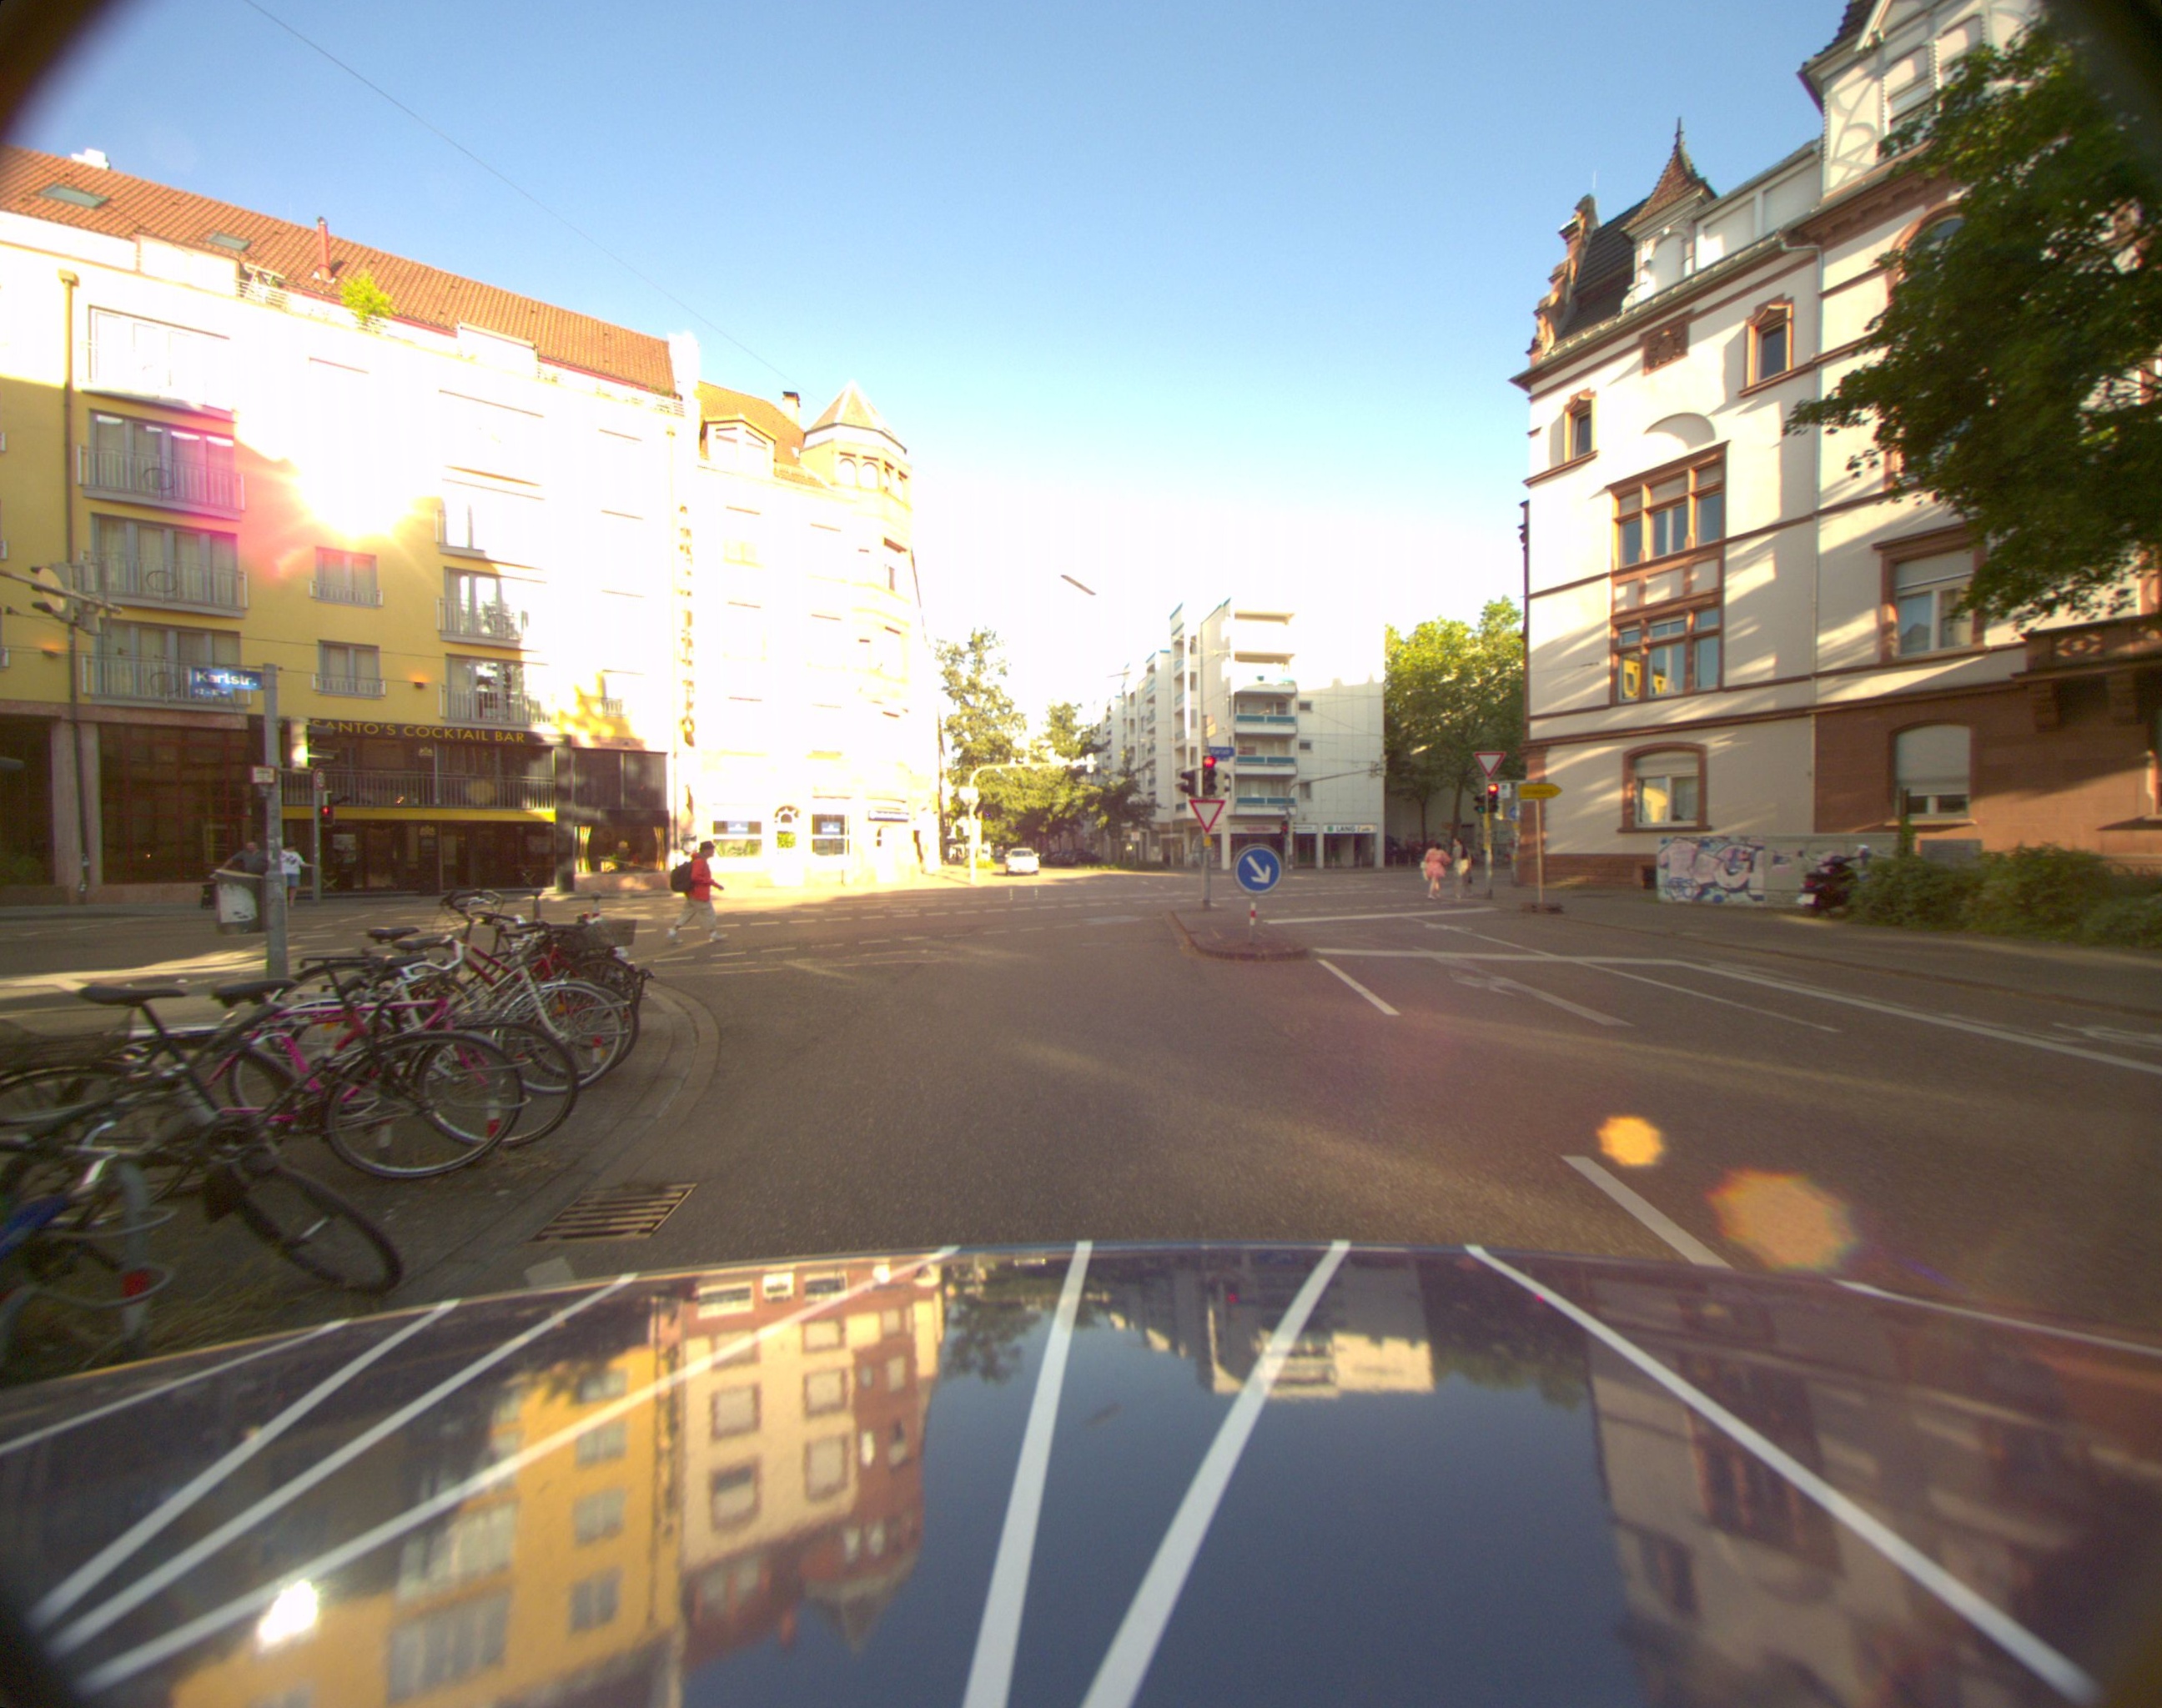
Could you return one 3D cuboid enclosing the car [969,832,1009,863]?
[{"bbox_3d":[-10.072,-0.700,82.621,3.328,3.160,8.072,0,1,-14],"label":"car"}]

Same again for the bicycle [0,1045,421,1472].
[{"bbox_3d":[-3.198,1.142,2.163,1.938,0.982,0.496,2,2,-19],"label":"bicycle"}]

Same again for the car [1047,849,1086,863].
[{"bbox_3d":[-1.767,0.201,90.369,4.307,1.576,1.997,0,1,-15],"label":"car"}]

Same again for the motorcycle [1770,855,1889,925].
[{"bbox_3d":[14.441,0.654,14.654,2.112,1.258,0.841,-1,1,-22],"label":"motorcycle"}]

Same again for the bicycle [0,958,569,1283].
[{"bbox_3d":[-3.542,1.102,3.498,1.940,1.087,0.424,2,2,-34],"label":"bicycle"}]

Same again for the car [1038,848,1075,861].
[{"bbox_3d":[-3.132,0.016,95.963,4.307,1.576,1.997,0,1,-15],"label":"car"}]

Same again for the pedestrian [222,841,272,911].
[{"bbox_3d":[-22.562,0.573,20.573,0.680,1.831,0.724,-1,5,-32],"label":"pedestrian"}]

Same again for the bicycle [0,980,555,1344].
[{"bbox_3d":[-3.319,1.138,3.062,1.940,1.046,0.501,2,2,-34],"label":"bicycle"}]

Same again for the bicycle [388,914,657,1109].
[{"bbox_3d":[-3.914,1.038,5.441,0.424,1.087,1.480,4,2,33],"label":"bicycle"}]

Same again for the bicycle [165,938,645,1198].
[{"bbox_3d":[-3.613,1.084,4.290,1.940,1.087,0.424,1,2,-36],"label":"bicycle"}]

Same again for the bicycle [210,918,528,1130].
[{"bbox_3d":[-4.738,1.049,5.151,0.572,1.087,1.480,4,2,35],"label":"bicycle"}]

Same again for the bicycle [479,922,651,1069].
[{"bbox_3d":[-4.233,1.127,6.317,1.000,1.021,0.737,-1,1,-18],"label":"bicycle"}]

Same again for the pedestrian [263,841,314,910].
[{"bbox_3d":[-21.619,0.569,20.738,0.736,1.831,0.724,-1,5,-32],"label":"pedestrian"}]

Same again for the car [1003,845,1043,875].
[{"bbox_3d":[-3.618,0.317,46.710,2.000,1.740,3.995,0,1,-11],"label":"car"}]

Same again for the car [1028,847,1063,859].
[{"bbox_3d":[-4.688,-0.139,100.598,4.307,1.576,1.997,0,1,-15],"label":"car"}]

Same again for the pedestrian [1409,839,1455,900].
[{"bbox_3d":[10.039,0.427,21.727,0.986,1.688,0.867,-1,1,-42],"label":"pedestrian"}]

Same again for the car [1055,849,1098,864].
[{"bbox_3d":[-0.506,0.251,82.023,4.307,1.576,1.997,0,1,-17],"label":"car"}]

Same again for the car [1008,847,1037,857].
[{"bbox_3d":[-9.457,-0.294,122.550,4.307,1.576,1.997,0,1,-15],"label":"car"}]

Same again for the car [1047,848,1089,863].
[{"bbox_3d":[-1.439,0.175,84.275,4.307,1.576,1.997,0,1,-17],"label":"car"}]

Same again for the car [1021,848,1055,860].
[{"bbox_3d":[-5.954,-0.021,104.407,4.307,1.576,1.997,0,1,-15],"label":"car"}]

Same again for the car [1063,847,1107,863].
[{"bbox_3d":[0.383,0.091,77.067,4.003,1.576,1.997,0,1,-17],"label":"car"}]

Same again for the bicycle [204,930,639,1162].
[{"bbox_3d":[-3.872,1.071,4.671,1.940,1.087,0.424,1,2,-36],"label":"bicycle"}]

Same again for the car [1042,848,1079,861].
[{"bbox_3d":[-2.527,0.094,93.632,4.307,1.576,1.997,0,1,-15],"label":"car"}]

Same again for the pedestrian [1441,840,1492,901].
[{"bbox_3d":[11.124,0.456,21.933,0.870,1.688,0.982,-1,1,-22],"label":"pedestrian"}]

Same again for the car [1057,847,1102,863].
[{"bbox_3d":[-0.132,0.060,79.457,4.307,1.576,1.997,0,1,-17],"label":"car"}]

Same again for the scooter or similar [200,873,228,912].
[{"bbox_3d":[-22.876,1.019,20.057,0.358,0.972,0.421,-1,5,-34],"label":"scooter or similar"}]

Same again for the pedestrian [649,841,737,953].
[{"bbox_3d":[-6.131,0.642,12.059,1.175,1.670,1.005,-1,1,-26],"label":"pedestrian"}]
